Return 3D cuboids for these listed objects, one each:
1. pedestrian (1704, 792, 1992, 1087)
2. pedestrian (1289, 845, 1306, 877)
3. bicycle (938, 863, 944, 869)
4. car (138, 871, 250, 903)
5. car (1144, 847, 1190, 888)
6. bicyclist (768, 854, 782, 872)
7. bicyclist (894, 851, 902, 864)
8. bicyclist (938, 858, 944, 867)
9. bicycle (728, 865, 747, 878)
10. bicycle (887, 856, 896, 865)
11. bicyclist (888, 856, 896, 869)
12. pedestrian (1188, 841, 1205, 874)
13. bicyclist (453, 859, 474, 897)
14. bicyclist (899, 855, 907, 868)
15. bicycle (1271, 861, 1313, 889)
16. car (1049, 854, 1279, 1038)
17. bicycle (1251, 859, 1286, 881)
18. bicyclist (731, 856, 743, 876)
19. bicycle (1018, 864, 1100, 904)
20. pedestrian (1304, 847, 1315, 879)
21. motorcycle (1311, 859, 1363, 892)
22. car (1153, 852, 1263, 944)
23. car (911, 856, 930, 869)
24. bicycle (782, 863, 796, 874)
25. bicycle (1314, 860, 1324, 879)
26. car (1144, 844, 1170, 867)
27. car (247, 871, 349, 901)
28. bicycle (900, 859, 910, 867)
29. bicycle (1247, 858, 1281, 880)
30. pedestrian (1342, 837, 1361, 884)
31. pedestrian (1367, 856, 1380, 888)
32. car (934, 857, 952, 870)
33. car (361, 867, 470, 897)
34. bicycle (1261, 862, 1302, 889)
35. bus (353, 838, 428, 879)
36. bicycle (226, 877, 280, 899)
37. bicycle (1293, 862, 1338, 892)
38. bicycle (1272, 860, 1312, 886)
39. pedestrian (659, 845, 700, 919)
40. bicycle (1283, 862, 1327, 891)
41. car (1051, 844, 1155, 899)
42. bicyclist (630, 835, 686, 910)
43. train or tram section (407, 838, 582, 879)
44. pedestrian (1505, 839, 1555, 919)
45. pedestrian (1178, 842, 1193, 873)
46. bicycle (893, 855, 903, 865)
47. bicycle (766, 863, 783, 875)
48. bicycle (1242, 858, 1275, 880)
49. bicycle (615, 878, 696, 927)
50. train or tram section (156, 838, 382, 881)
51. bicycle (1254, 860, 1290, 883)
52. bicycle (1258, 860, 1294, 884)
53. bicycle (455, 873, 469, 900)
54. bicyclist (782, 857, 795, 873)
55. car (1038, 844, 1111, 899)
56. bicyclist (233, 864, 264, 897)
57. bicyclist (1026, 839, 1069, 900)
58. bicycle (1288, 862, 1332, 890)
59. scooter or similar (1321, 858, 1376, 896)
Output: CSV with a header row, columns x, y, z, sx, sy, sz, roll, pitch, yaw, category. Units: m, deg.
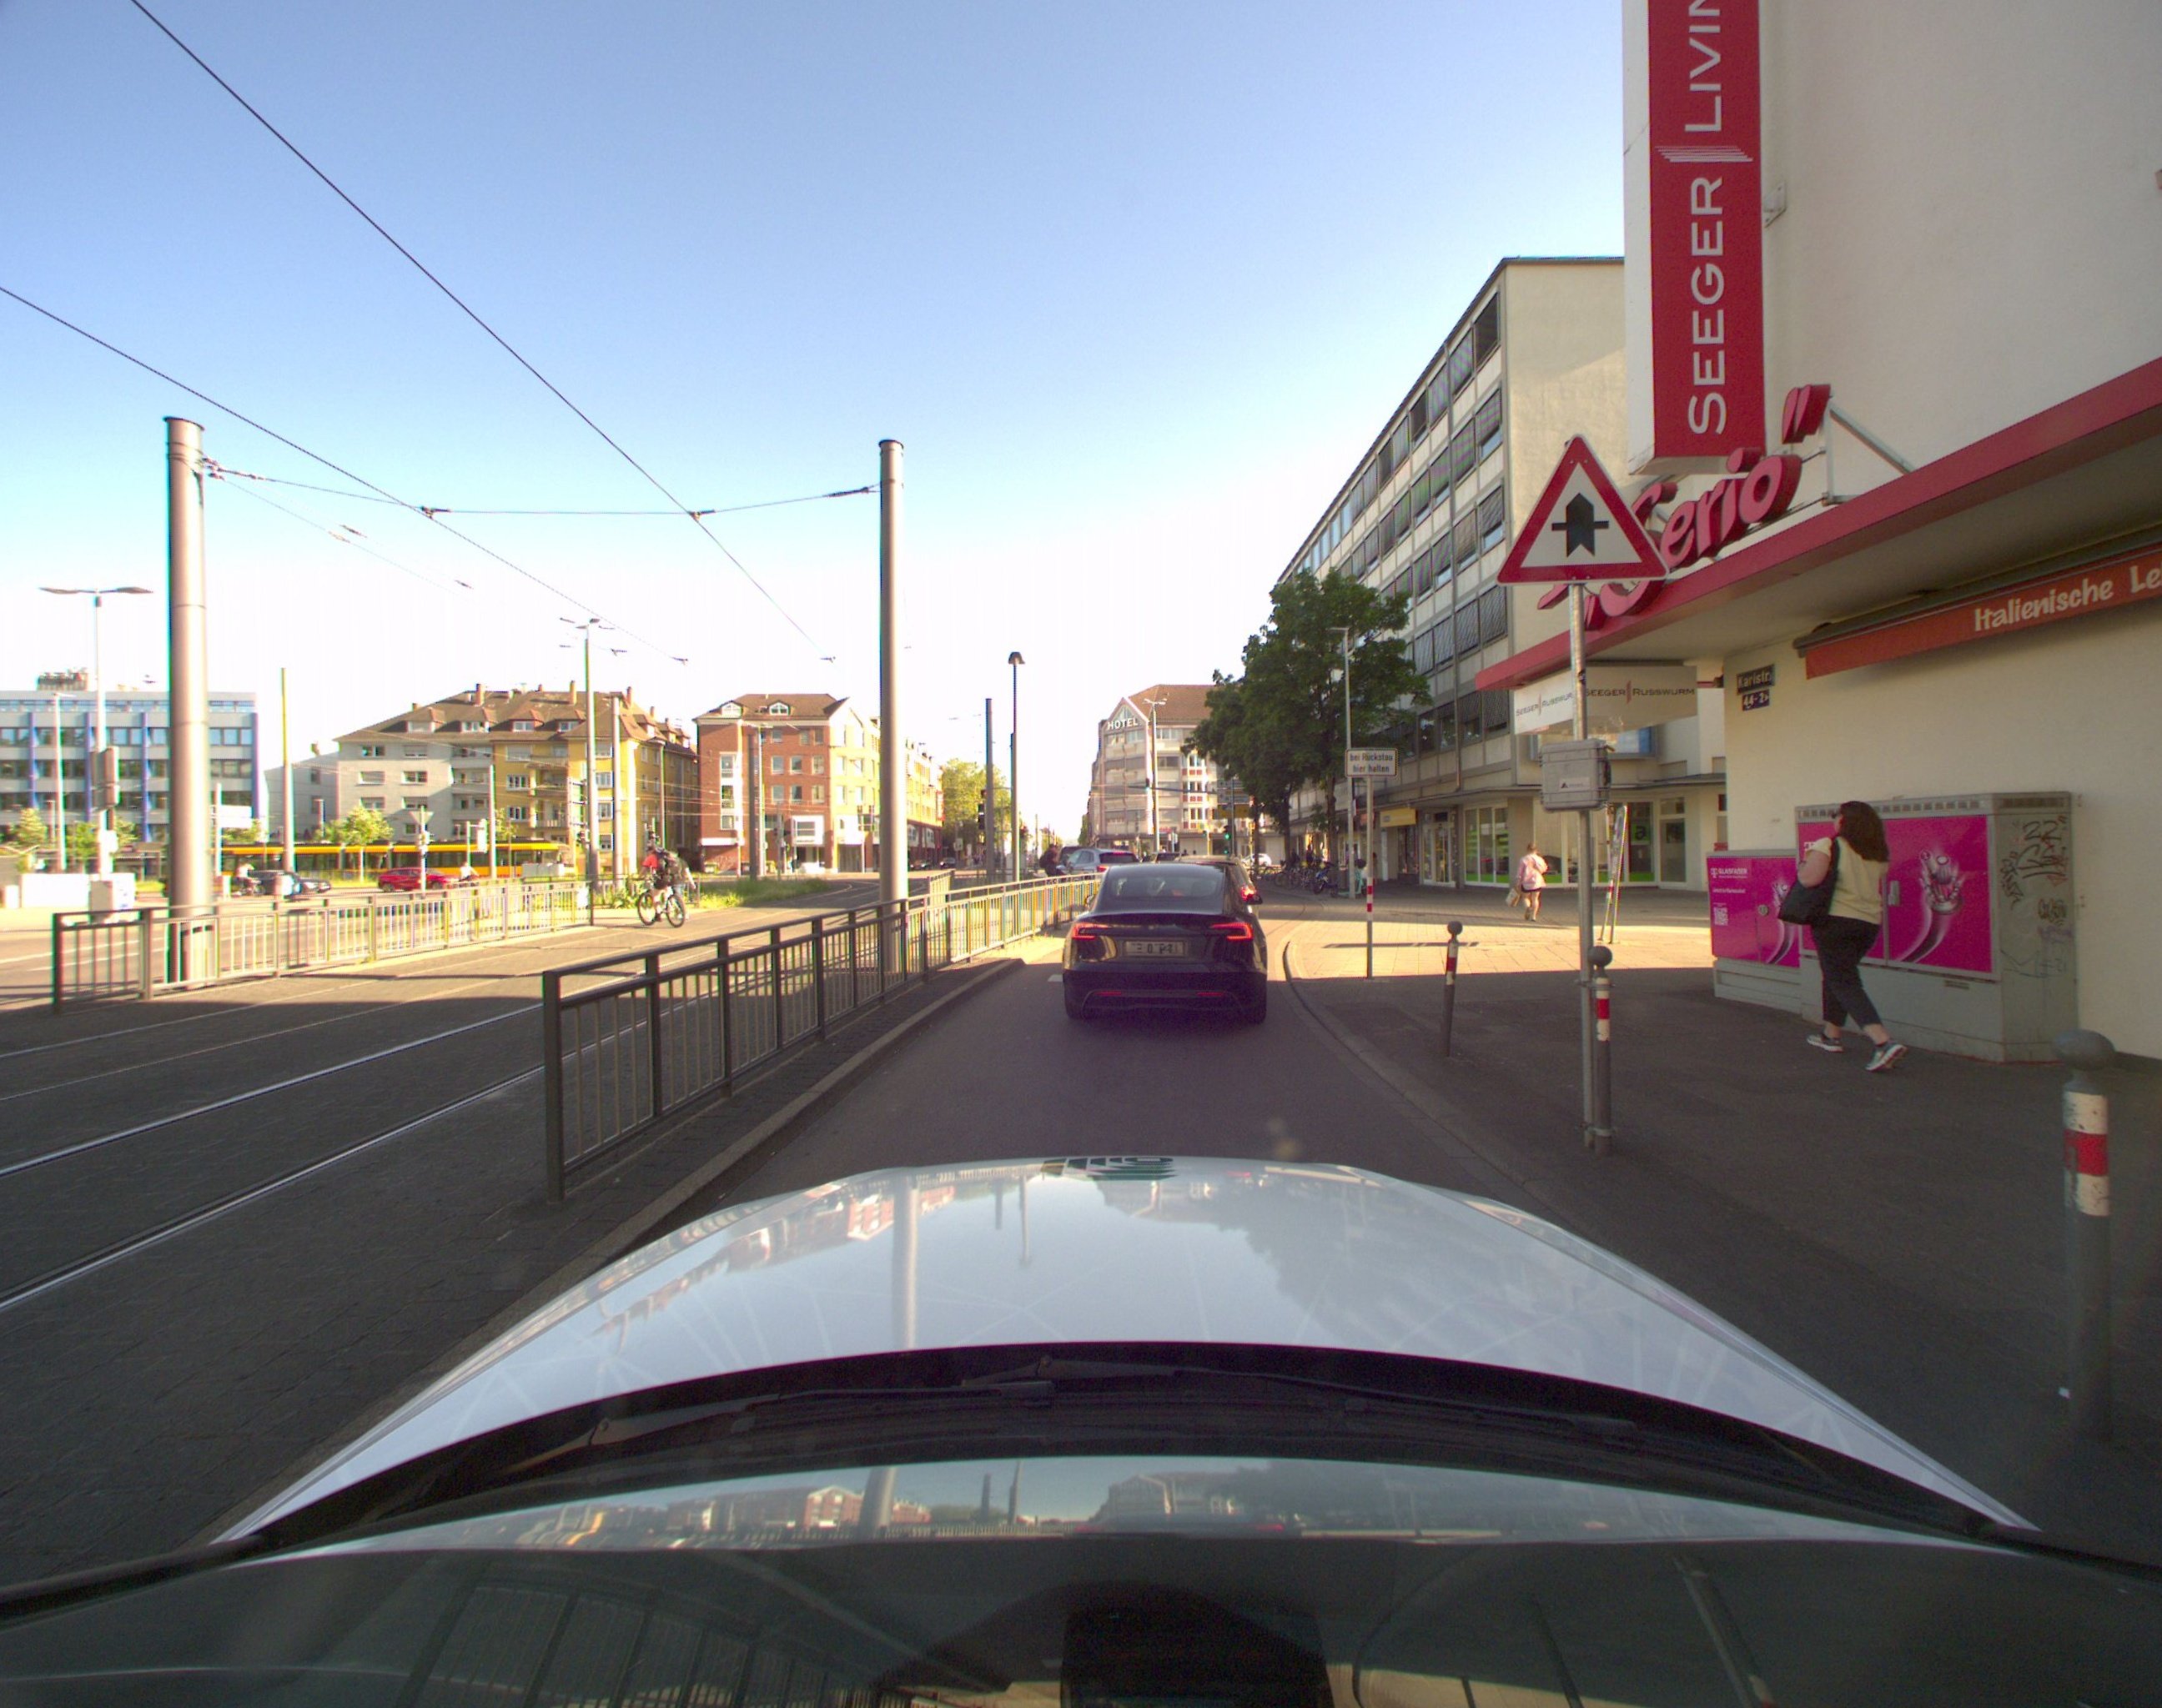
x,y,z,sx,sy,sz,roll,pitch,yaw,category
5.017,0.512,5.423,0.912,1.752,1.038,-1,0,-2,pedestrian
11.675,0.371,43.873,0.697,1.662,0.777,0,-1,1,pedestrian
-23.169,2.008,134.836,0.527,1.088,2.227,0,-1,4,bicycle
-50.618,1.872,46.567,3.952,1.685,1.903,0,-1,-11,car
3.882,0.597,37.309,1.594,1.778,3.978,0,-1,-1,car
-25.789,0.786,68.543,0.895,1.503,0.696,0,-1,1,bicyclist
-22.781,0.420,101.183,0.780,1.563,0.747,-1,0,3,bicyclist
-23.161,1.372,135.009,0.780,1.563,0.747,0,-1,3,bicyclist
-26.012,1.324,61.646,0.445,0.972,2.247,0,-1,2,bicycle
-22.824,0.752,98.039,0.535,1.088,2.225,0,-1,1,bicycle
-22.845,1.053,98.633,0.781,1.563,0.747,0,-1,2,bicyclist
7.007,0.224,49.610,0.917,2.014,0.973,0,-1,1,pedestrian
-29.213,1.139,38.506,0.762,1.759,0.744,0,-1,-39,bicyclist
-22.534,0.971,103.332,0.780,1.563,0.747,-1,0,3,bicyclist
8.621,0.846,33.322,1.649,1.099,0.349,0,-1,-9,bicycle
0.893,0.749,8.520,1.820,1.455,4.007,0,-1,7,car
9.286,0.797,40.253,1.643,1.099,0.350,0,-1,3,bicycle
-26.015,0.912,61.621,0.631,1.503,0.696,0,-1,1,bicyclist
-0.592,0.803,22.610,2.346,1.053,0.624,0,-1,-36,bicycle
12.378,0.504,44.144,0.523,1.710,0.404,0,-1,6,pedestrian
9.149,0.768,29.171,1.701,1.173,0.541,0,-1,0,motorcycle
2.325,0.700,15.062,1.741,1.454,4.009,-1,0,8,car
-20.362,1.093,103.497,1.706,1.527,4.032,0,-1,-3,car
-26.889,1.353,74.945,0.402,0.981,1.699,-1,-1,10,bicycle
12.826,0.836,43.878,0.330,1.034,1.258,0,-1,6,bicycle
5.769,0.125,61.892,1.713,1.751,3.755,0,-1,2,car
-45.488,1.833,47.384,3.984,1.672,1.772,0,-1,-8,car
-22.481,1.132,103.986,0.527,1.088,2.286,-1,-1,4,bicycle
9.268,0.759,41.301,1.643,1.099,0.350,-1,0,3,bicycle
11.625,0.285,35.022,0.659,2.014,0.580,0,-1,4,pedestrian
12.411,0.747,34.610,0.388,1.343,0.513,0,-1,4,pedestrian
-18.065,1.235,106.638,1.692,1.731,3.706,0,-1,0,car
-39.451,1.649,48.379,4.585,1.700,1.993,0,-1,-10,car
8.444,0.913,34.274,1.649,1.099,0.349,0,-1,-9,bicycle
-54.190,0.368,64.015,3.511,3.131,2.765,0,-1,-6,bus
-46.045,1.888,45.294,2.188,1.214,0.544,0,-1,-11,bicycle
8.899,0.859,30.941,1.649,1.099,0.349,0,-1,-9,bicycle
9.123,0.828,35.260,1.643,1.099,0.350,0,-1,3,bicycle
-9.358,0.651,19.010,0.589,1.681,0.773,0,-1,-4,pedestrian
8.735,0.859,31.791,1.649,1.099,0.349,0,-1,-9,bicycle
0.629,0.540,26.649,1.891,1.662,4.126,0,-1,-23,car
-8.759,0.388,16.865,1.033,1.521,0.393,-1,-1,14,bicyclist
-46.719,0.322,65.190,11.230,3.131,2.796,0,-1,-10,train or tram section
9.747,0.534,17.710,0.881,1.667,0.813,-1,-1,25,pedestrian
6.774,0.220,52.850,0.917,2.014,0.973,0,-1,1,pedestrian
-22.731,0.761,101.113,0.527,1.089,2.285,3,-2,4,bicycle
-25.793,1.290,68.577,0.522,0.972,2.247,0,-1,2,bicycle
9.249,0.789,42.395,1.643,1.099,0.350,0,-1,3,bicycle
-8.817,0.991,16.876,1.586,0.994,0.405,-1,-1,13,bicycle
-62.718,0.425,63.227,13.654,3.131,2.728,0,-1,-6,train or tram section
9.210,0.840,39.240,1.643,1.099,0.350,0,-1,3,bicycle
9.145,0.836,38.214,1.643,1.099,0.350,0,-1,3,bicycle
-29.142,1.528,38.349,0.488,1.222,1.834,0,-1,-38,bicycle
-26.884,1.002,74.960,0.699,1.471,0.975,-1,0,9,bicyclist
-0.333,0.665,32.671,1.997,2.014,3.980,-1,0,-15,car
-46.244,1.481,45.268,0.901,1.808,0.788,0,-1,-12,bicyclist
-0.914,0.419,22.379,0.763,1.628,0.967,0,-1,-37,bicyclist
8.821,0.851,31.365,1.649,1.061,0.349,0,-1,-9,bicycle
8.902,0.764,27.101,1.625,1.215,0.649,-1,-1,32,scooter or similar
